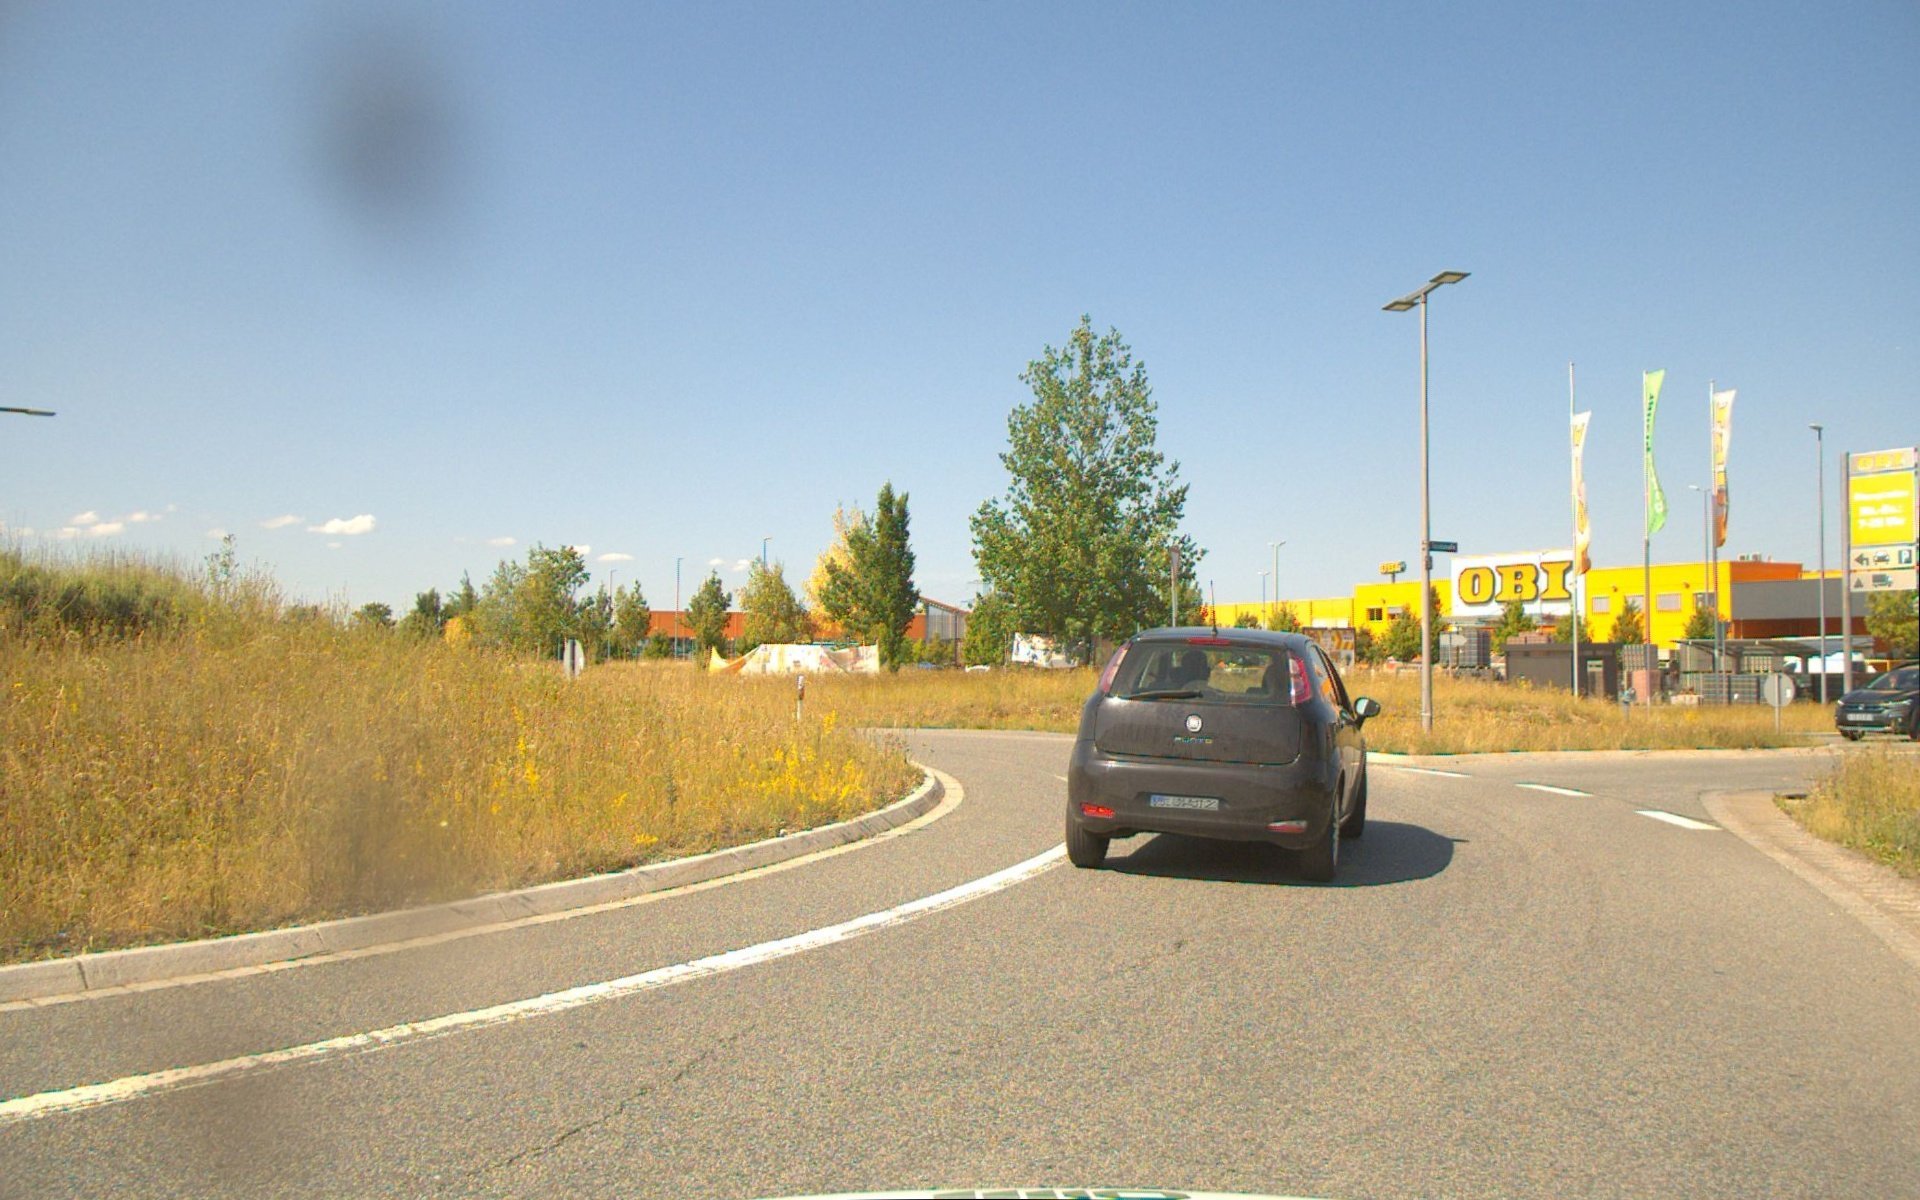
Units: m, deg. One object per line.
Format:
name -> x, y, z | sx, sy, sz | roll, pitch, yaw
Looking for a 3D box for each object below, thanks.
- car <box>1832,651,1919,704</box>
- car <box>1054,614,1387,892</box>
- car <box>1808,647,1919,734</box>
car -> 35.085, 2.960, 62.829 | 3.719, 1.874, 1.684 | 3, -4, -28
car -> 1.943, 0.906, 11.294 | 1.605, 1.514, 3.905 | 1, -1, 19
car -> 20.359, 1.910, 34.859 | 4.550, 1.736, 1.943 | 1, -4, -23
